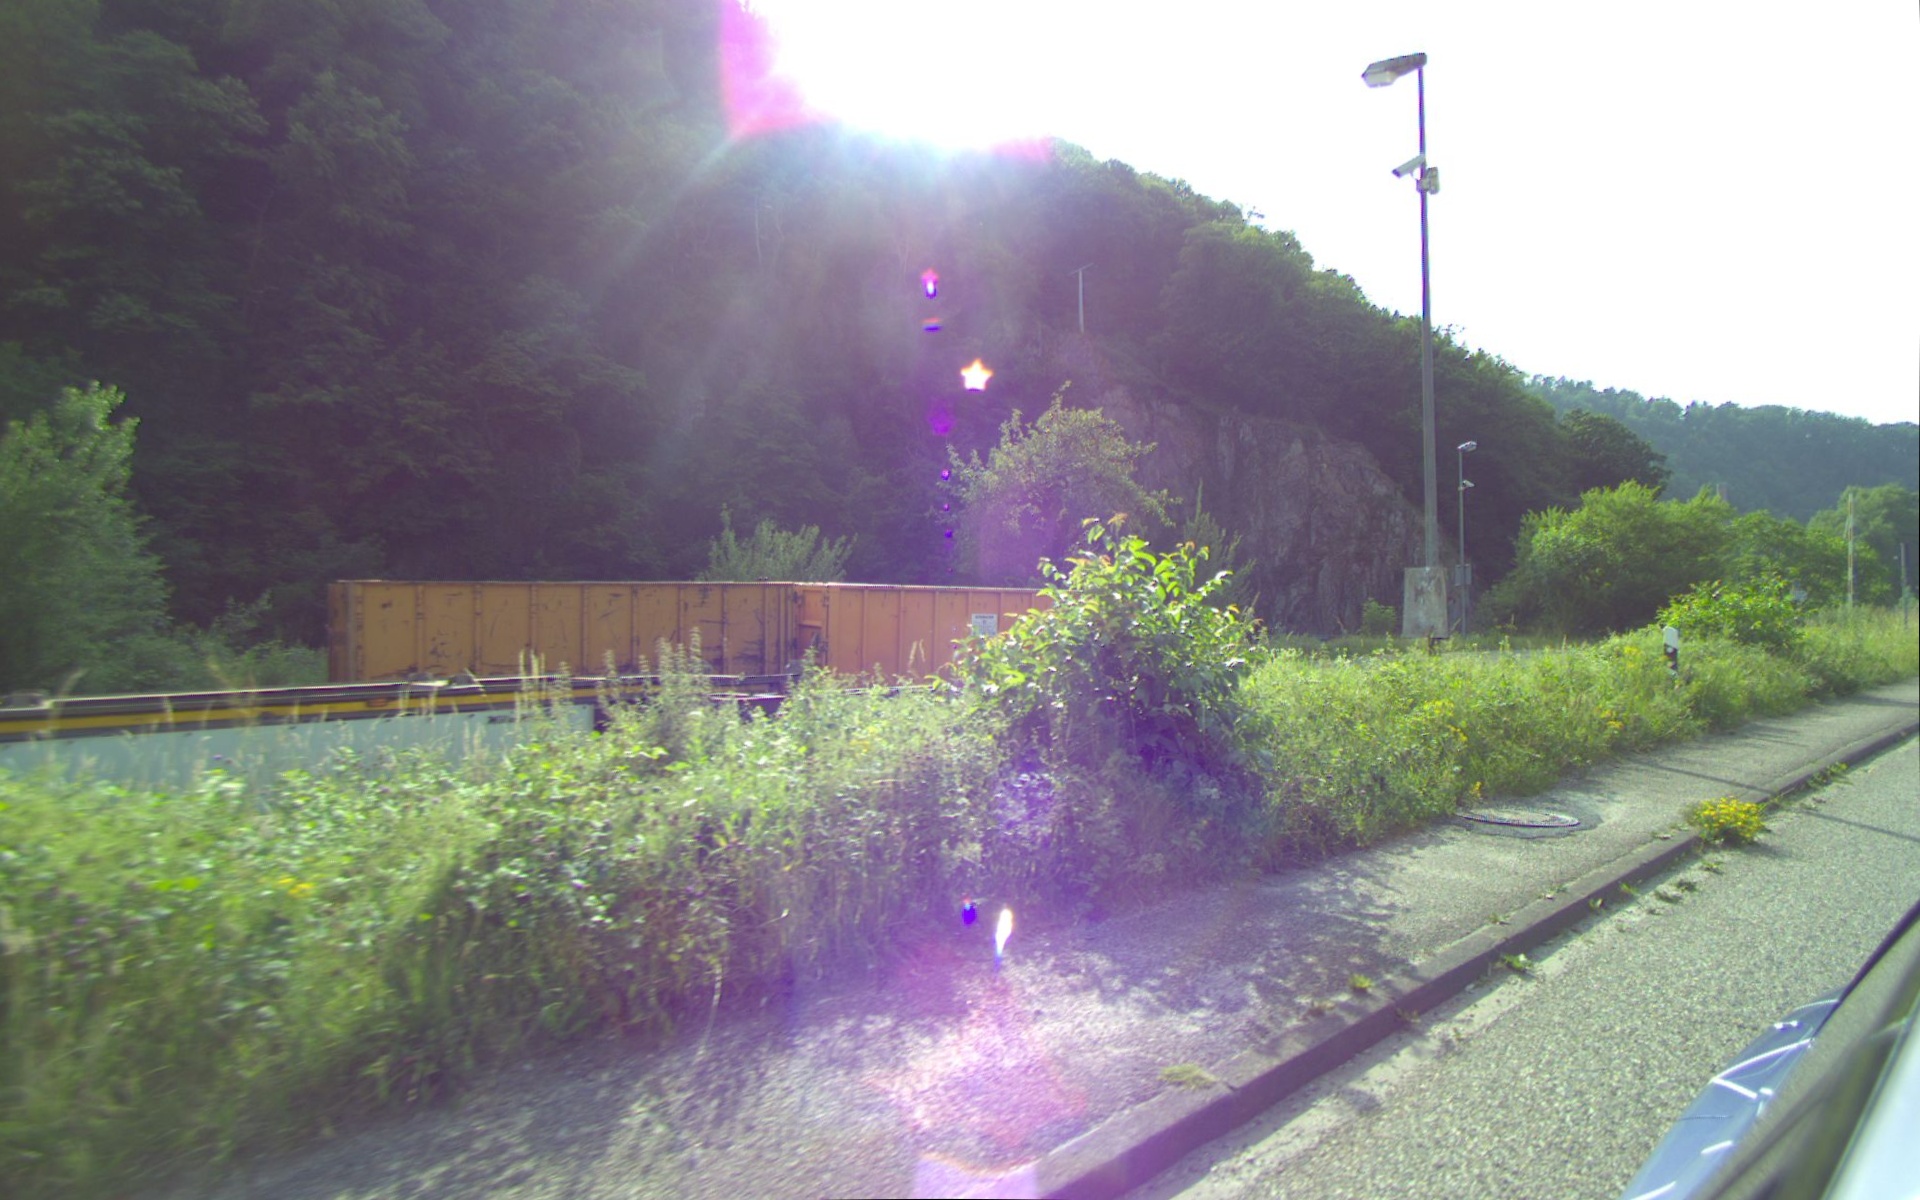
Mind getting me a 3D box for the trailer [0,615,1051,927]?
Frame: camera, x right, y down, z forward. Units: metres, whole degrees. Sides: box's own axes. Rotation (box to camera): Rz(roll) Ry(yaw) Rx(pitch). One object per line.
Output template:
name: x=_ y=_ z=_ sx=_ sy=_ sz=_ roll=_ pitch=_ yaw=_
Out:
trailer: x=-3.674 y=0.938 z=7.695 sx=9.715 sy=1.494 sz=2.795 roll=1 pitch=-4 yaw=-42
